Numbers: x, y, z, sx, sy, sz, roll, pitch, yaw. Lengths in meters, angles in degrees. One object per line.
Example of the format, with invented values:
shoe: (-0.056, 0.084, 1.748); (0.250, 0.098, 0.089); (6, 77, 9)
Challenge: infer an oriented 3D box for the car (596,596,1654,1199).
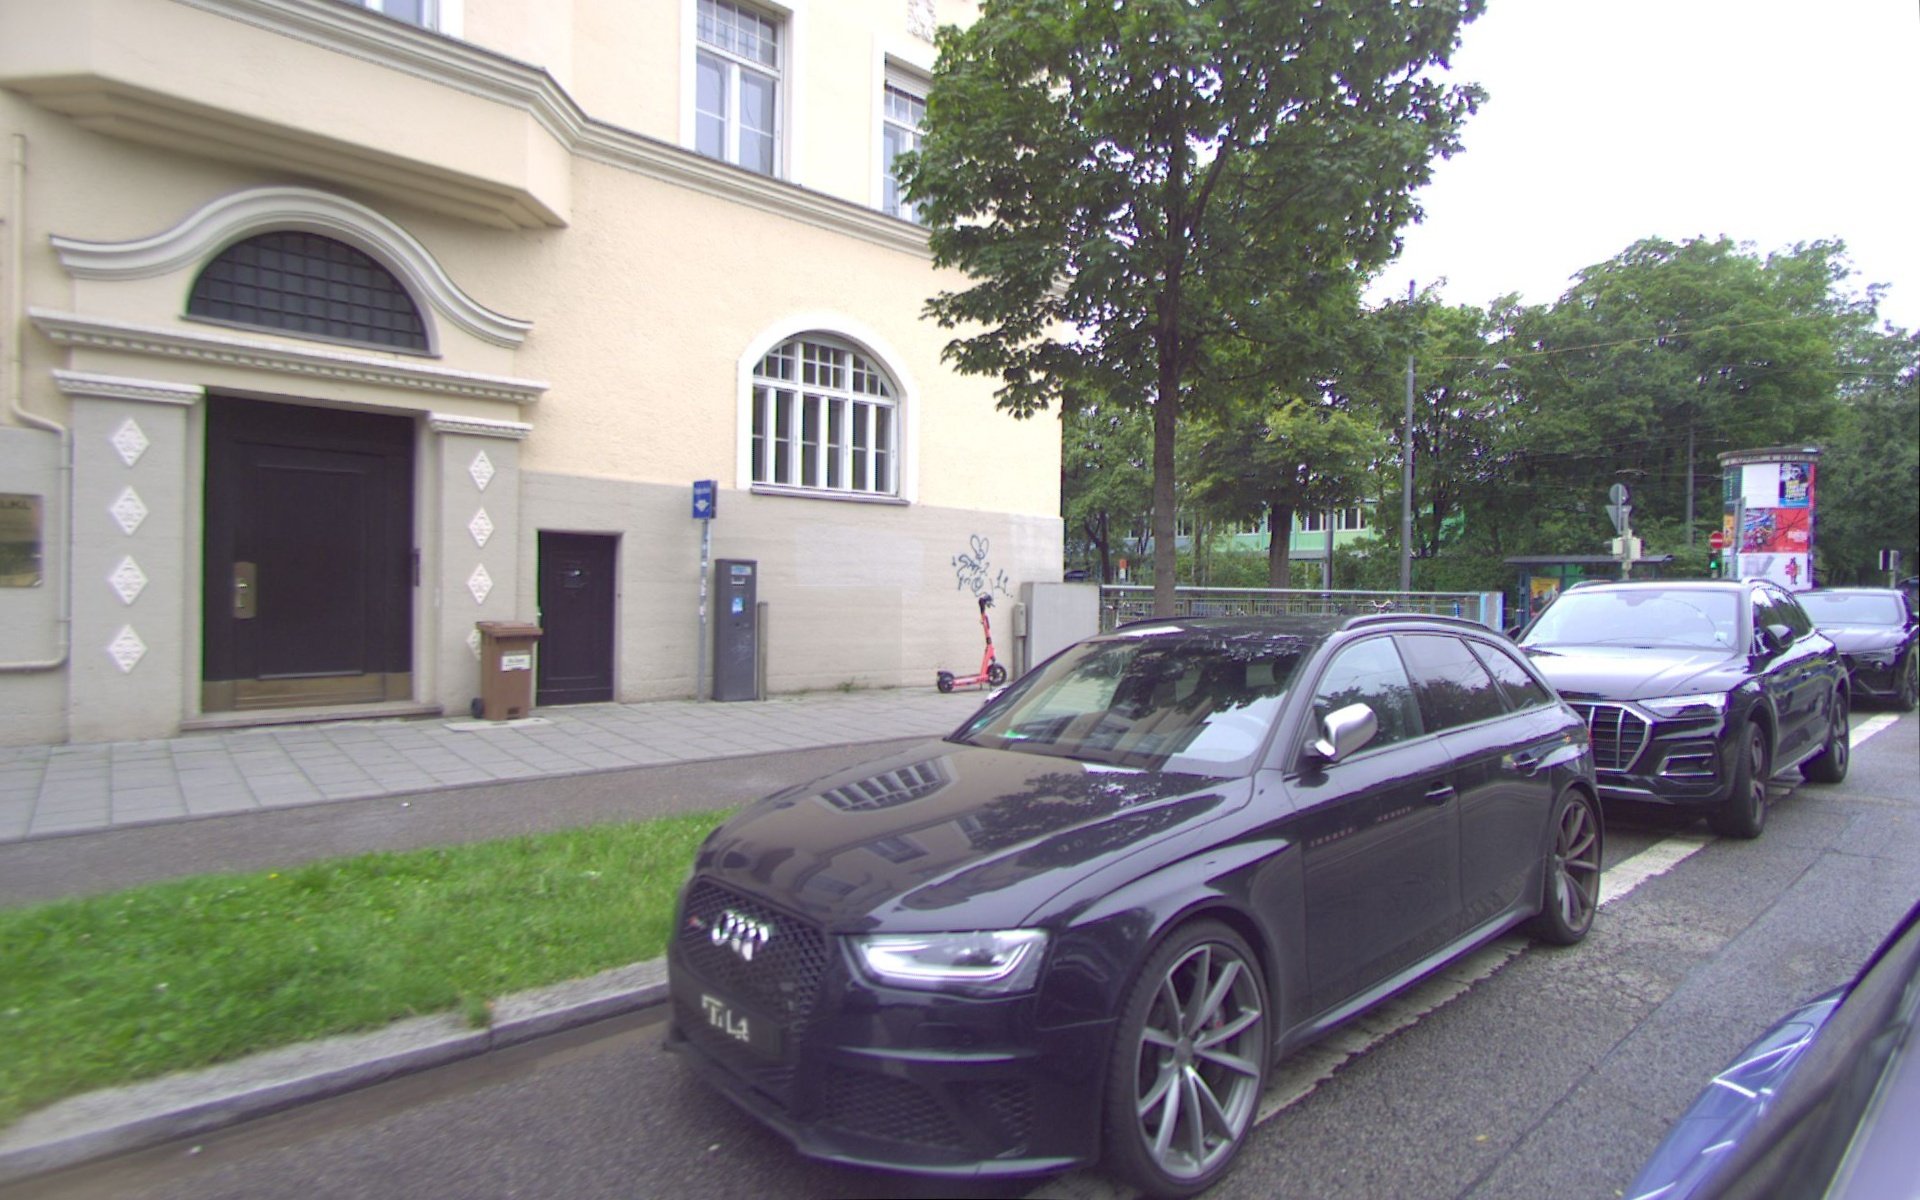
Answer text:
car: (1.100, 0.731, 4.065); (4.522, 1.444, 1.718); (-1, 0, -41)

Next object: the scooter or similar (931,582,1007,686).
scooter or similar: (0.129, 0.430, 13.403); (1.123, 1.329, 0.261); (0, -1, -44)

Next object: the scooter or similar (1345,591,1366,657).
scooter or similar: (7.952, 0.472, 20.350); (0.242, 1.279, 1.482); (-1, 0, 27)

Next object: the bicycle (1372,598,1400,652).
bicycle: (9.097, 0.513, 21.583); (0.263, 1.096, 1.524); (-1, 0, 34)

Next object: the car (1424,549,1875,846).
car: (5.501, 0.531, 7.836); (4.408, 1.679, 1.777); (-1, 0, -40)

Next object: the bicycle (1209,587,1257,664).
bicycle: (4.768, 0.423, 17.647); (0.281, 1.298, 1.391); (-1, -1, 38)

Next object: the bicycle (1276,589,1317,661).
bicycle: (6.316, 0.451, 18.959); (0.281, 1.298, 1.391); (-1, -1, 38)

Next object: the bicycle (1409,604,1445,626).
bicycle: (21.361, 0.698, 46.311); (0.366, 0.964, 1.483); (0, 1, -38)

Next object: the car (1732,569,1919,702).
car: (12.956, 0.454, 14.640); (4.582, 1.630, 1.904); (0, -1, -40)

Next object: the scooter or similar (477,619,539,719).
scooter or similar: (-4.323, 0.645, 9.689); (0.345, 0.922, 0.417); (-1, -1, 29)

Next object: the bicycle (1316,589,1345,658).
bicycle: (7.222, 0.436, 19.704); (0.280, 1.298, 1.395); (-1, 0, 29)

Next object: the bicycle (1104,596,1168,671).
bicycle: (2.800, 0.507, 16.017); (0.286, 1.120, 1.421); (0, 0, 42)

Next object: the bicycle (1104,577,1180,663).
bicycle: (2.938, 0.298, 16.248); (1.511, 1.329, 0.332); (0, -1, -42)
